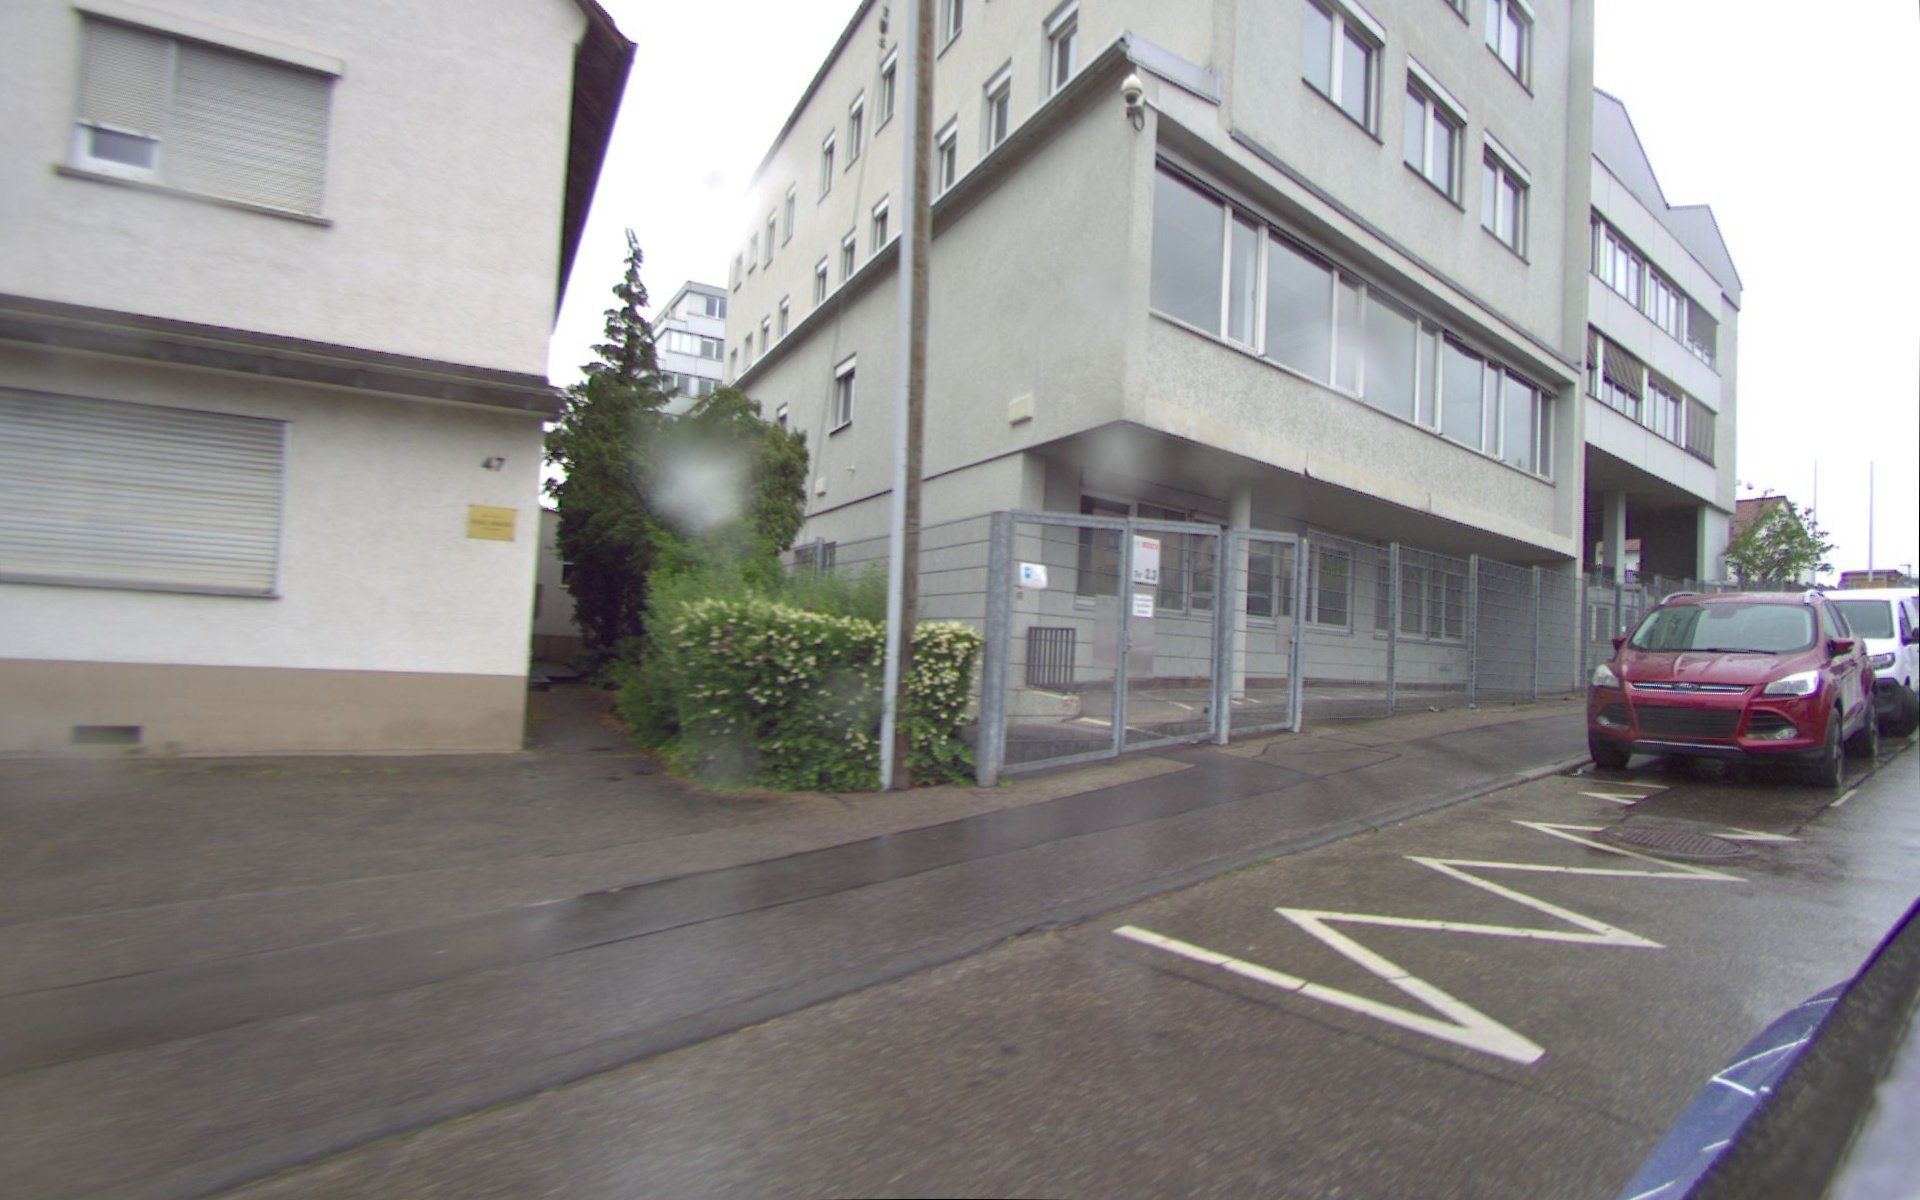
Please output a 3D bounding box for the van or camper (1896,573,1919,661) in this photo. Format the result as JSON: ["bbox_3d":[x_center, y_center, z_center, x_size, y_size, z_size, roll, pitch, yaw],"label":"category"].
[{"bbox_3d":[25.856,0.463,26.127,5.112,2.140,1.997,1,0,-42],"label":"van or camper"}]

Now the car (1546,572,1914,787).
[{"bbox_3d":[7.889,0.620,10.170,4.871,1.665,1.997,1,0,-41],"label":"car"}]

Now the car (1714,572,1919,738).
[{"bbox_3d":[11.794,0.622,13.508,4.410,1.857,1.881,1,0,-41],"label":"car"}]

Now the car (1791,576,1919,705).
[{"bbox_3d":[16.149,0.629,17.476,4.888,1.959,1.997,1,0,-41],"label":"car"}]
